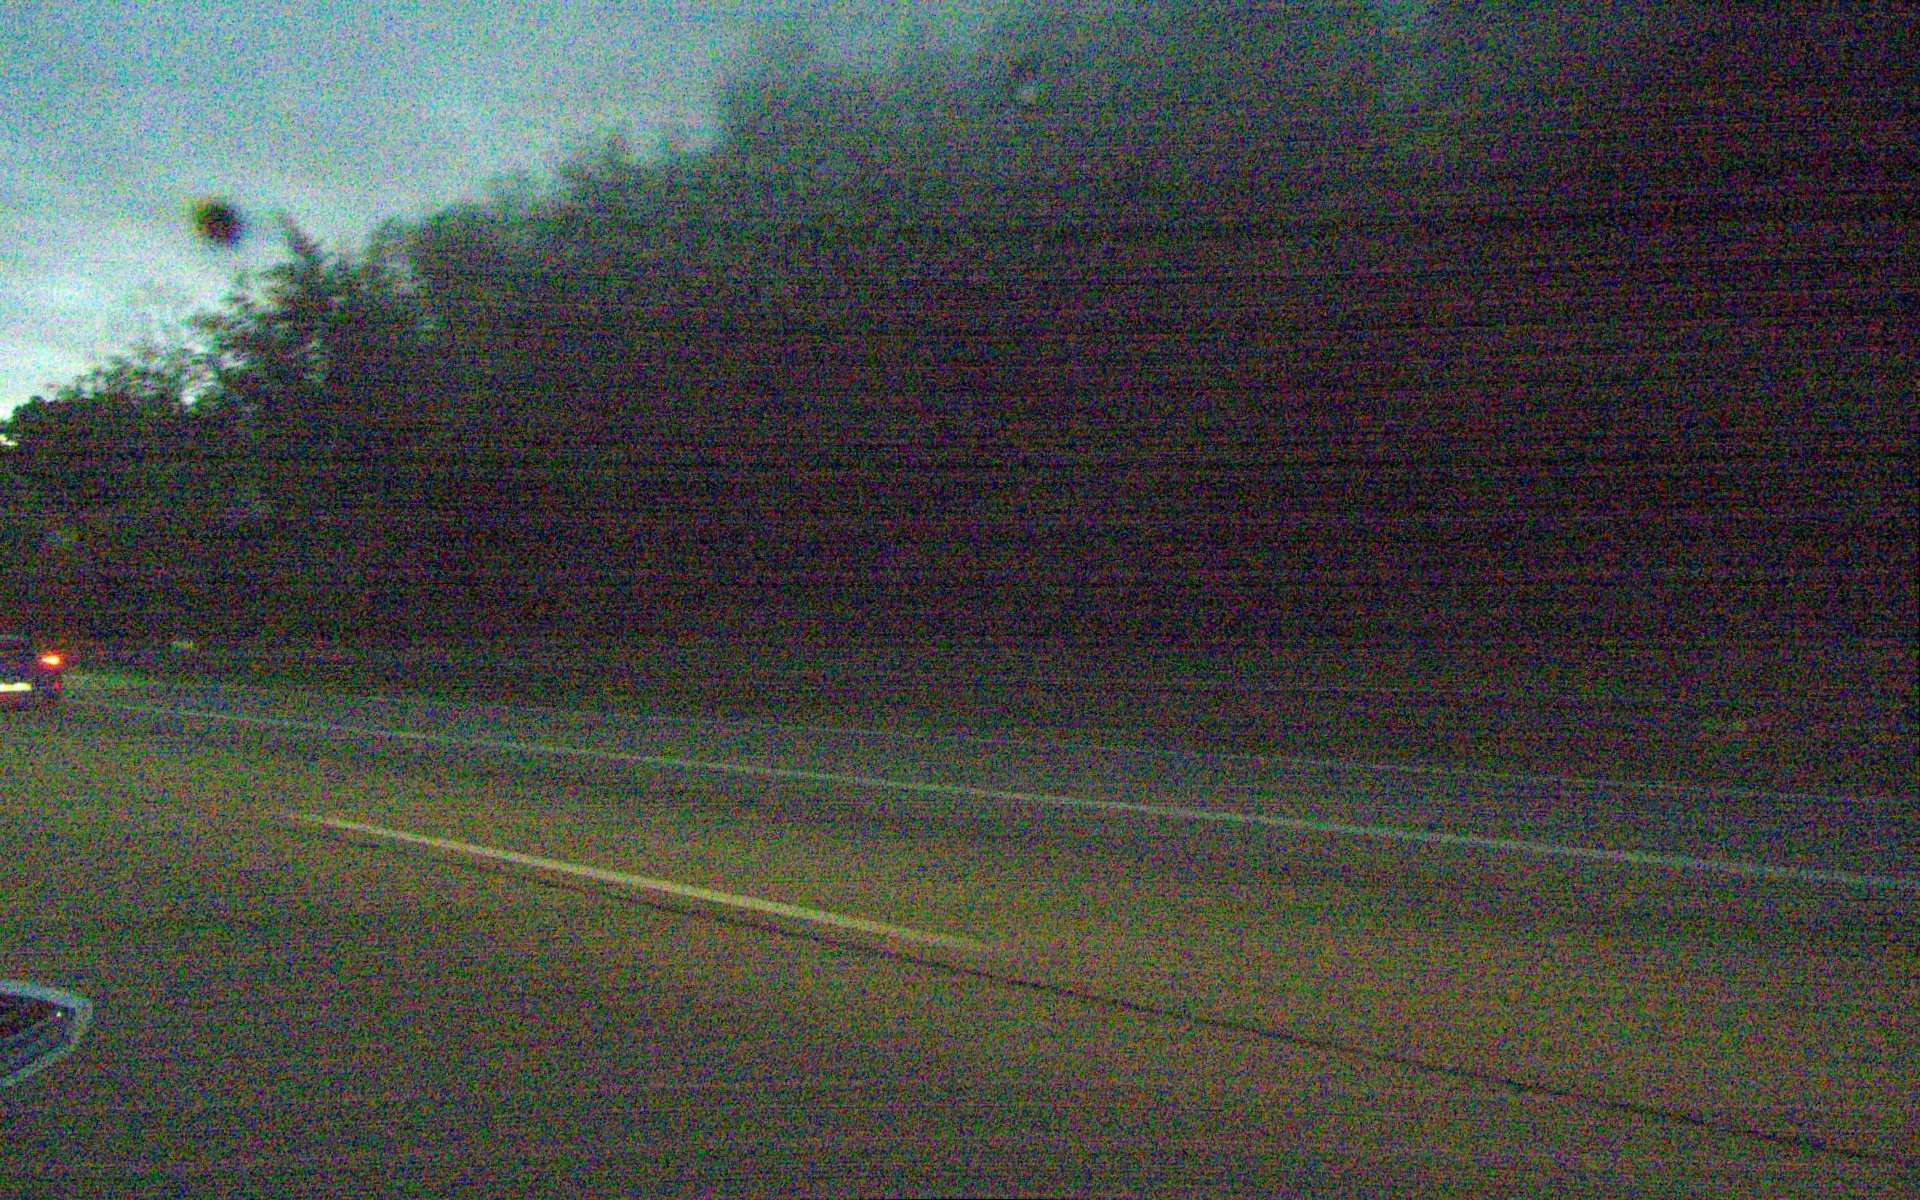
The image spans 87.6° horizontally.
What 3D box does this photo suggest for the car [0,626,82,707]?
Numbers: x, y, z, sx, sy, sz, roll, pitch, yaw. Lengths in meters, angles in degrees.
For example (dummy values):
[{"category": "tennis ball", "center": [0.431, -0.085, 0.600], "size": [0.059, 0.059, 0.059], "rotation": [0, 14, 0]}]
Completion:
[{"category": "car", "center": [-19.196, 1.246, 19.631], "size": [4.520, 1.454, 1.861], "rotation": [-1, -2, 33]}]
